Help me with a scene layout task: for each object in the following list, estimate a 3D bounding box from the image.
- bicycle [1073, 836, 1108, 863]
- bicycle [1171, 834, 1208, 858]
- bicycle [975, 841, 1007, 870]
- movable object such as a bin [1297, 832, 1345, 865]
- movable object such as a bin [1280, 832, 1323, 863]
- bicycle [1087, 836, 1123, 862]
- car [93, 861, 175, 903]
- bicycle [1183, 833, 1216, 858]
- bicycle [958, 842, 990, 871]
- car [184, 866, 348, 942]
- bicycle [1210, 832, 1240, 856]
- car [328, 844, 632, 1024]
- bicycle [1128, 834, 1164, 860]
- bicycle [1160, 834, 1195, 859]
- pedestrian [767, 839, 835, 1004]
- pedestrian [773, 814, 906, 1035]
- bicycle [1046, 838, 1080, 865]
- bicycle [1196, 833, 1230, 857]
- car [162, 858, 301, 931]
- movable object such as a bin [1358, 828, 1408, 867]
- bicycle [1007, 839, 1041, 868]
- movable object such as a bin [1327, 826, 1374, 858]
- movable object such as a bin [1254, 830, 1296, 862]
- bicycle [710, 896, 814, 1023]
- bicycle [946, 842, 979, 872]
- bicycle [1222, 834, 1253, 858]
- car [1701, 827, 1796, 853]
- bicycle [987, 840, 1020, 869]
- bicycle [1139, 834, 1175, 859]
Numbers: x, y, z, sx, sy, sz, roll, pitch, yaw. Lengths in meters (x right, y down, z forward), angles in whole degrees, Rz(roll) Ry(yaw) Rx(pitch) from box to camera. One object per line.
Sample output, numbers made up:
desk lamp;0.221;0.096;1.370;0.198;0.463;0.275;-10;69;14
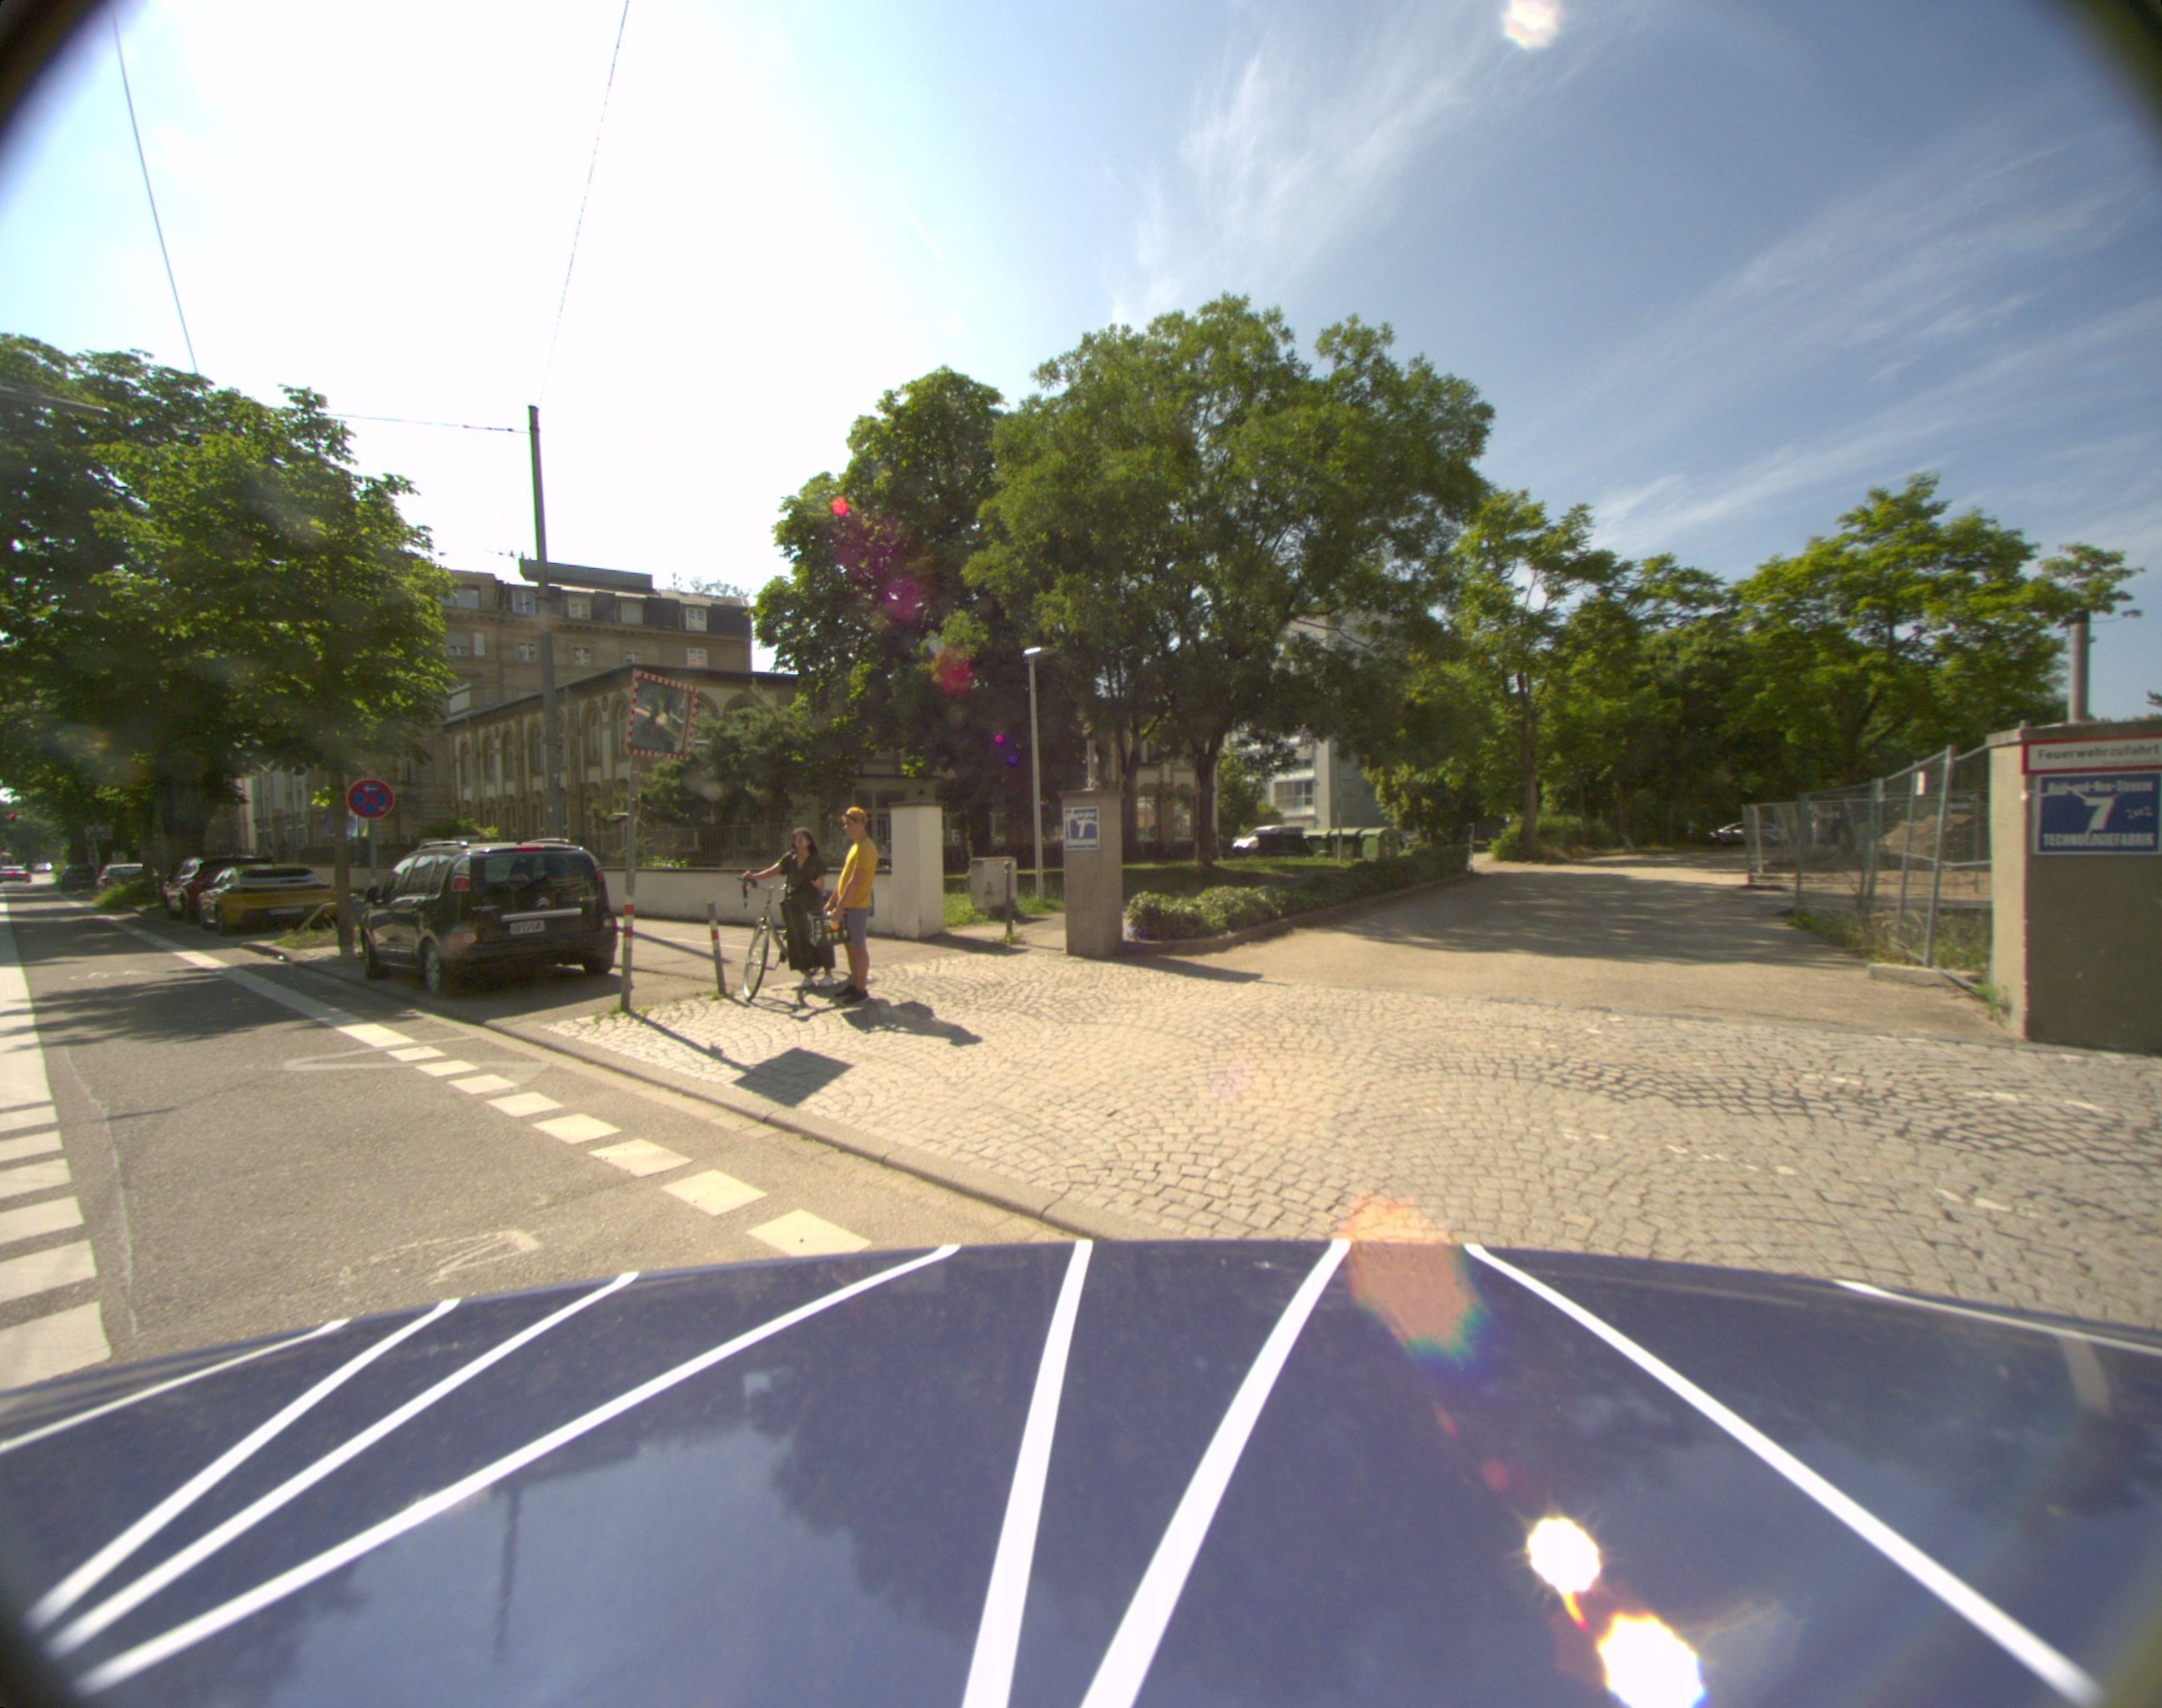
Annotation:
bicycle;0.403;-0.215;34.002;0.589;1.155;2.097;-2;2;-29
bicycle;5.199;-0.392;36.544;0.589;1.155;2.097;-2;2;-29
bicycle;-3.784;0.042;31.768;0.589;1.155;2.097;-2;2;-29
movable object such as a bin;10.267;-0.257;32.503;1.217;1.354;1.498;-2;2;-32
movable object such as a bin;9.861;-0.290;34.005;1.217;1.341;1.349;-2;2;-32
bicycle;1.066;-0.232;34.408;0.589;1.155;2.097;-2;2;-29
car;-41.295;1.161;33.131;3.988;1.670;1.860;0;2;34
bicycle;5.711;-0.425;36.803;0.495;1.155;1.909;-2;2;-29
bicycle;-4.435;0.069;31.414;0.589;1.155;2.097;-2;2;-29
car;-18.234;1.022;16.965;3.988;1.404;1.860;0;2;34
bicycle;7.083;-0.493;37.440;0.507;1.155;1.801;-2;2;-24
car;-7.338;0.753;9.169;3.988;1.674;1.860;0;2;37
bicycle;3.005;-0.329;35.313;0.589;1.155;2.097;-2;2;-29
bicycle;4.577;-0.377;36.120;0.589;1.155;1.917;-2;2;-29
pedestrian;-2.819;0.665;7.676;0.422;1.612;0.454;-1;2;5
pedestrian;-2.209;0.581;6.944;0.855;1.854;0.827;-3;3;-39
bicycle;-0.809;-0.123;33.379;0.589;1.155;2.097;-2;2;-29
bicycle;6.442;-0.460;37.264;0.614;1.155;1.846;-2;2;-29
car;-22.387;0.988;19.995;3.988;1.670;1.860;0;2;34
movable object such as a bin;11.904;-0.270;29.995;1.216;1.454;1.390;-2;2;-17
bicycle;-2.451;-0.039;32.571;0.589;1.155;2.097;-2;2;-29
movable object such as a bin;11.057;-0.496;31.218;1.217;1.293;1.352;-2;2;-32
movable object such as a bin;9.013;-0.377;35.324;1.252;1.401;1.432;-2;2;-33
bicycle;-3.178;1.006;7.696;0.363;1.035;1.512;-1;2;1
bicycle;-4.799;0.109;30.710;0.589;1.155;2.097;-2;2;-29
bicycle;7.723;-0.397;37.514;0.558;1.155;1.941;-2;2;-19
car;41.225;-0.866;47.006;2.003;1.499;3.989;-2;2;-34
bicycle;-3.298;0.006;32.178;0.589;1.155;2.097;-2;2;-29
bicycle;3.566;-0.350;35.686;0.589;1.155;2.097;-2;2;-29
